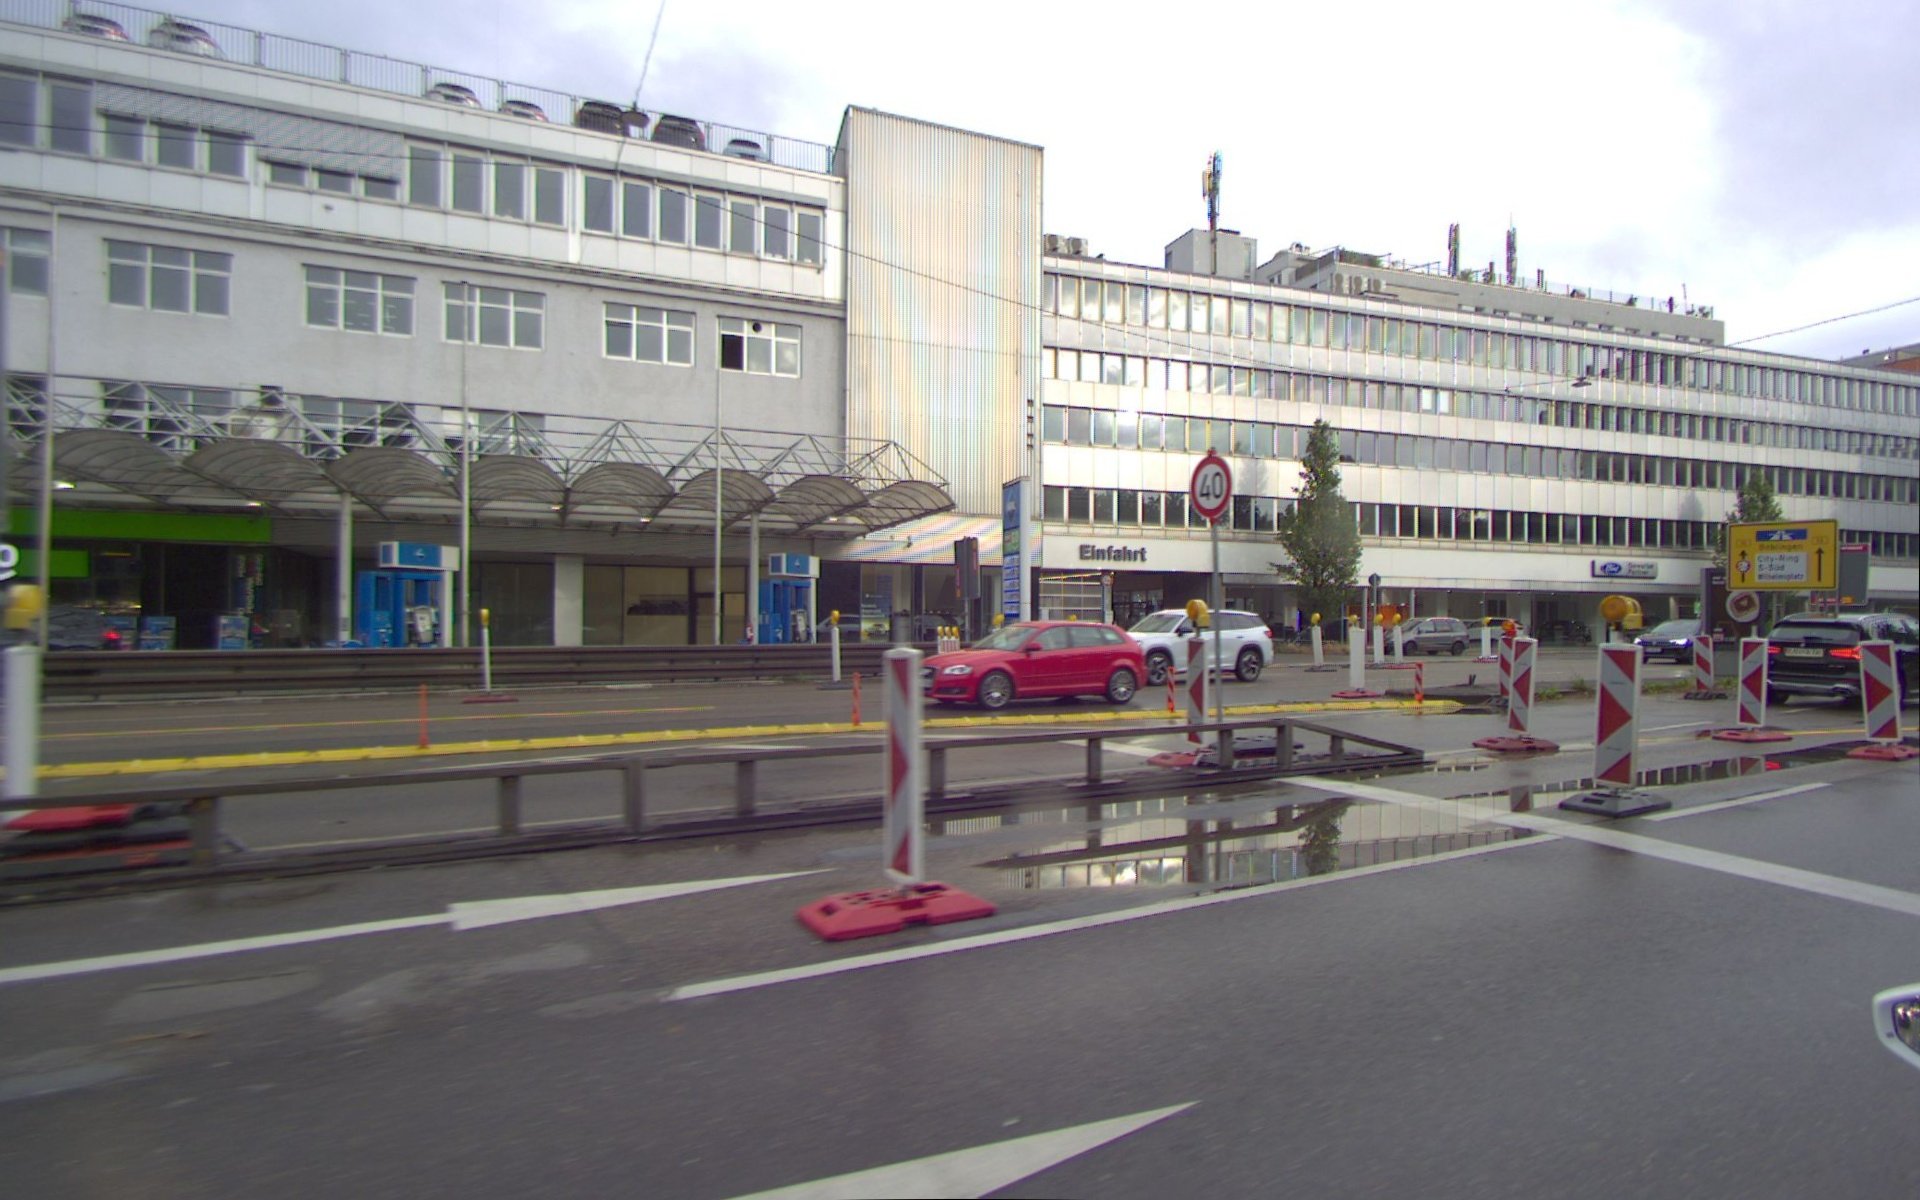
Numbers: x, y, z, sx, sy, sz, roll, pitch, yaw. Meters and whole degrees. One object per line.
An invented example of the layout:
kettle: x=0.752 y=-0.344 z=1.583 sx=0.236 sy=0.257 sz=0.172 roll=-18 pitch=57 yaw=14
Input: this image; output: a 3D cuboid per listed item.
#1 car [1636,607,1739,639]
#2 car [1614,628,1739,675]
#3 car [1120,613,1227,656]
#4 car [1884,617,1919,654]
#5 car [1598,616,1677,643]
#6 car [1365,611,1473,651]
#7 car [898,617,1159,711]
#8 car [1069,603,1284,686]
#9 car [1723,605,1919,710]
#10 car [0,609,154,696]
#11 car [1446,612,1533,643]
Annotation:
car: x=45.981 y=1.464 z=63.619 sx=4.890 sy=1.922 sz=2.000 roll=-1 pitch=-2 yaw=20
car: x=24.493 y=1.739 z=34.339 sx=3.944 sy=1.533 sz=1.747 roll=1 pitch=-2 yaw=-24
car: x=8.029 y=1.307 z=37.818 sx=3.703 sy=1.555 sz=1.649 roll=0 pitch=-2 yaw=-24
car: x=42.651 y=1.540 z=43.826 sx=4.239 sy=1.579 sz=1.804 roll=1 pitch=-1 yaw=-23
car: x=41.391 y=1.800 z=61.443 sx=3.934 sy=1.594 sz=1.994 roll=-2 pitch=-2 yaw=35
car: x=21.609 y=1.468 z=47.316 sx=4.656 sy=1.802 sz=1.847 roll=0 pitch=-2 yaw=-19
car: x=1.207 y=1.014 z=17.129 sx=4.239 sy=1.422 sz=1.727 roll=1 pitch=-1 yaw=-31
car: x=5.015 y=0.978 z=23.083 sx=4.775 sy=1.730 sz=1.970 roll=1 pitch=-1 yaw=-31
car: x=16.242 y=0.943 z=18.197 sx=4.606 sy=1.619 sz=1.941 roll=-1 pitch=2 yaw=-25
car: x=-19.626 y=1.083 z=20.686 sx=1.973 sy=1.701 sz=4.483 roll=-1 pitch=-3 yaw=11
car: x=30.152 y=1.606 z=57.366 sx=4.305 sy=1.673 sz=1.852 roll=-2 pitch=-2 yaw=27
